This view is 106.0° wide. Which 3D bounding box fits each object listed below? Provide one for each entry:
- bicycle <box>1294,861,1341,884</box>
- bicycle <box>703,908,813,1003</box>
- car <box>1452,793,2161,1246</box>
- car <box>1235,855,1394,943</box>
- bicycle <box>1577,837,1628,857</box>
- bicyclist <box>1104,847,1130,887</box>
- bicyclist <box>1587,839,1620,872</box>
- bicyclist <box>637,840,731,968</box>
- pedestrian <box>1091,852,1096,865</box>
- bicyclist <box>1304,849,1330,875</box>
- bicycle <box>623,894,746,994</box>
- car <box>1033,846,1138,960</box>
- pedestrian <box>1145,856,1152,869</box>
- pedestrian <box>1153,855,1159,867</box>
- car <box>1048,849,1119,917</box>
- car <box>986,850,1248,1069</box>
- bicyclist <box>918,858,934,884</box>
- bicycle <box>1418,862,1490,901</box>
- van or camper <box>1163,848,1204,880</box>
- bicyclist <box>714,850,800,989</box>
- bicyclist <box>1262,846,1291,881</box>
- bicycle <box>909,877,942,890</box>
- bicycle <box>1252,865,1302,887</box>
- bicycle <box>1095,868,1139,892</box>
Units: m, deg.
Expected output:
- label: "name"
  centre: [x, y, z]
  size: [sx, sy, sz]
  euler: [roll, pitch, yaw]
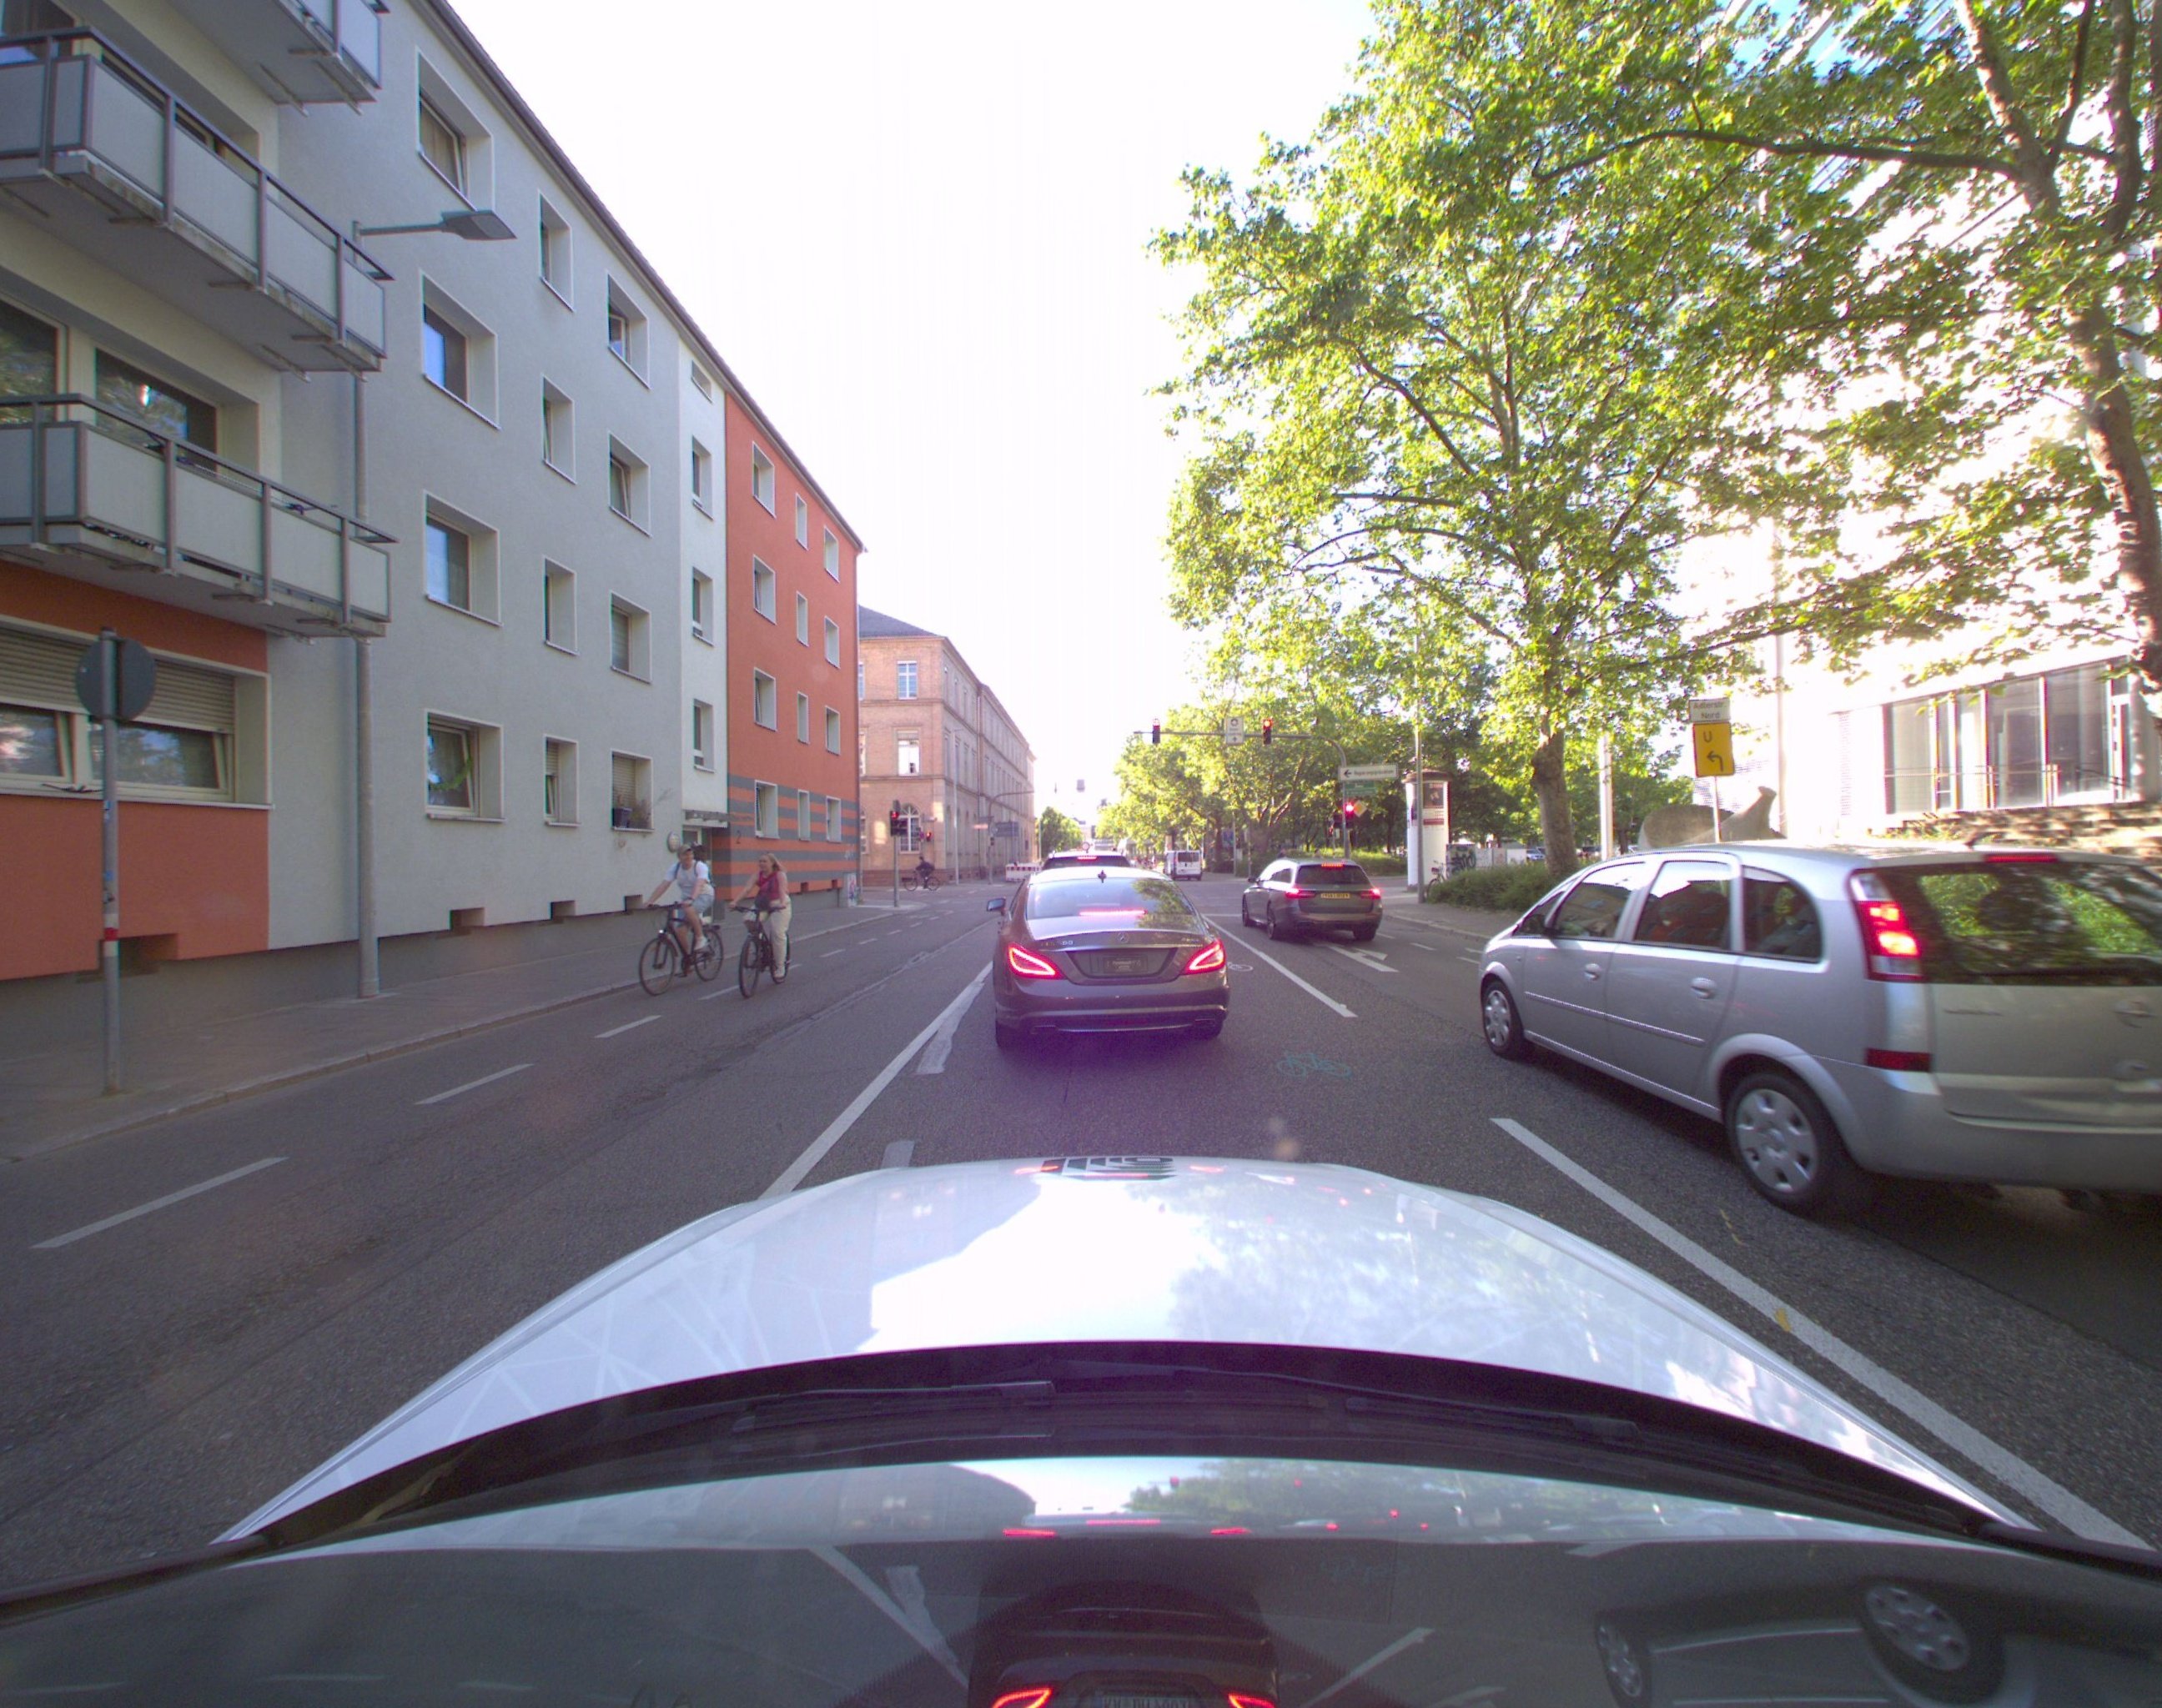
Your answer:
- label: "bicycle"
  centre: [10.819, 0.844, 37.285]
  size: [1.972, 1.027, 0.652]
  euler: [-1, 0, 3]
- label: "bicycle"
  centre: [-3.916, 1.199, 10.043]
  size: [0.692, 0.929, 1.861]
  euler: [-1, 0, -3]
- label: "car"
  centre: [3.829, 0.588, 4.821]
  size: [1.694, 1.603, 3.863]
  euler: [-1, 0, 4]
- label: "car"
  centre: [4.309, 0.751, 15.835]
  size: [1.906, 1.464, 4.671]
  euler: [0, 0, 2]
- label: "bicycle"
  centre: [24.562, -0.324, 38.365]
  size: [1.884, 0.882, 0.726]
  euler: [0, 0, 5]
- label: "bicyclist"
  centre: [1.514, 0.536, 34.014]
  size: [1.013, 1.642, 0.607]
  euler: [-1, 0, -4]
- label: "bicyclist"
  centre: [24.590, 0.082, 38.354]
  size: [1.069, 1.519, 0.718]
  euler: [-1, 0, 6]
- label: "bicyclist"
  centre: [-5.068, 0.611, 10.446]
  size: [0.842, 1.555, 0.837]
  euler: [-1, 0, -8]
- label: "pedestrian"
  centre: [1.851, 0.645, 122.087]
  size: [0.718, 1.902, 0.704]
  euler: [-1, 0, 1]
- label: "bicyclist"
  centre: [10.800, 0.365, 37.282]
  size: [0.987, 1.154, 0.621]
  euler: [-1, 0, 3]
- label: "bicycle"
  centre: [-5.061, 1.107, 10.544]
  size: [0.862, 1.079, 1.832]
  euler: [-1, 0, -7]
- label: "car"
  centre: [0.062, 0.713, 13.777]
  size: [1.513, 1.647, 3.879]
  euler: [-1, 0, 0]
- label: "pedestrian"
  centre: [7.858, 0.935, 94.829]
  size: [0.646, 1.503, 0.637]
  euler: [-1, 0, 1]
- label: "pedestrian"
  centre: [8.689, 0.815, 94.802]
  size: [0.646, 1.433, 0.659]
  euler: [-1, 0, 1]
- label: "car"
  centre: [0.128, 0.770, 23.373]
  size: [1.813, 1.762, 4.002]
  euler: [-1, 0, 2]
- label: "car"
  centre: [0.070, 0.720, 7.776]
  size: [1.801, 1.456, 4.342]
  euler: [-1, 0, -5]
- label: "bicyclist"
  centre: [-7.853, 0.866, 41.258]
  size: [0.701, 1.260, 0.458]
  euler: [-1, 0, 5]
- label: "bicycle"
  centre: [10.749, 0.789, 23.505]
  size: [1.796, 1.097, 0.510]
  euler: [-1, 0, 4]
- label: "van or camper"
  centre: [6.591, 0.631, 52.778]
  size: [1.987, 1.941, 4.592]
  euler: [-1, 0, -1]
- label: "bicyclist"
  centre: [-3.909, 0.753, 9.888]
  size: [0.683, 1.578, 0.980]
  euler: [-1, 0, -4]
- label: "bicyclist"
  centre: [8.554, 0.429, 35.700]
  size: [1.113, 1.490, 0.712]
  euler: [-1, 0, 1]
- label: "bicycle"
  centre: [-7.873, 1.497, 41.256]
  size: [1.579, 0.635, 0.496]
  euler: [-1, 0, 5]
- label: "bicycle"
  centre: [8.579, 0.967, 35.699]
  size: [1.979, 0.903, 0.734]
  euler: [-1, 0, 0]
- label: "bicycle"
  centre: [1.487, 1.069, 34.001]
  size: [1.791, 0.946, 0.613]
  euler: [-1, 0, -5]
